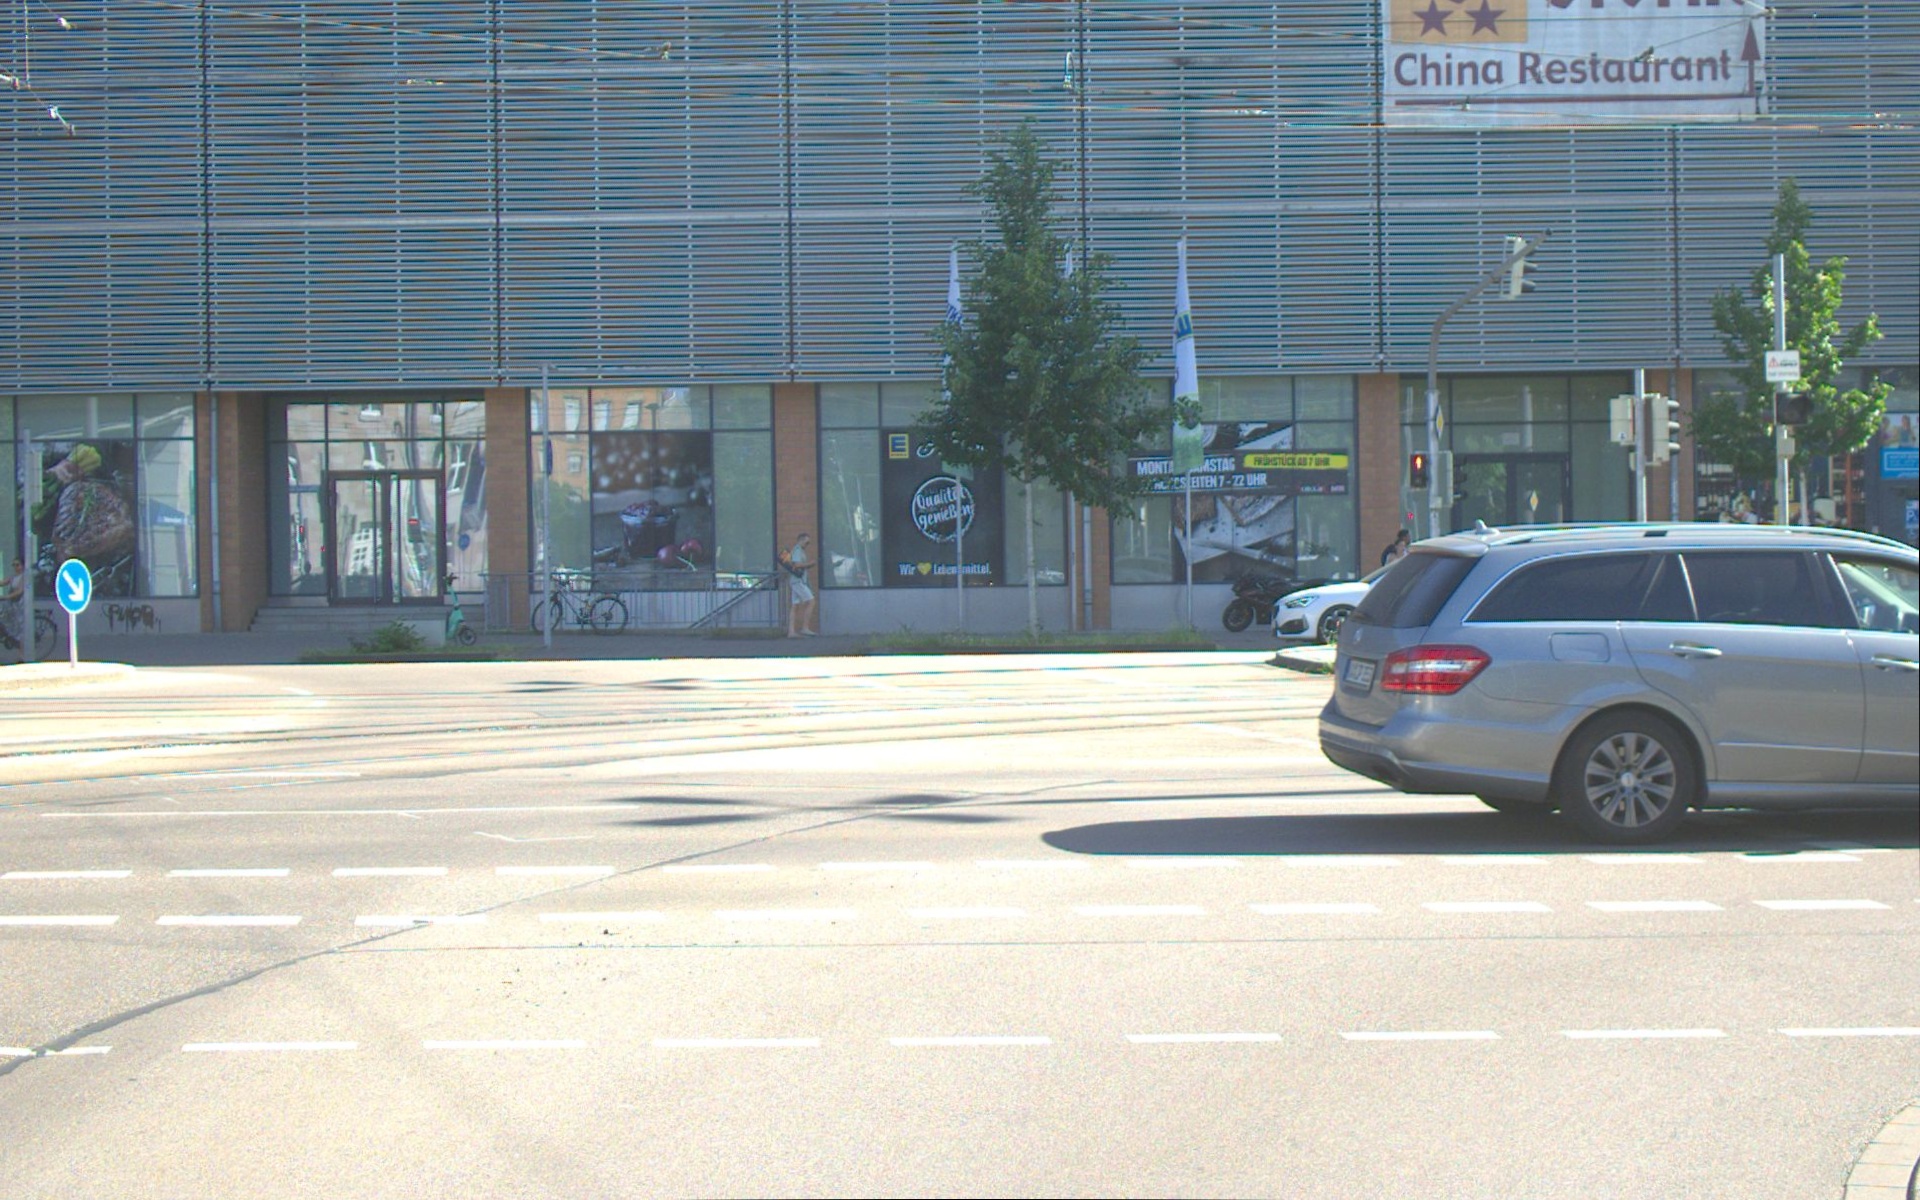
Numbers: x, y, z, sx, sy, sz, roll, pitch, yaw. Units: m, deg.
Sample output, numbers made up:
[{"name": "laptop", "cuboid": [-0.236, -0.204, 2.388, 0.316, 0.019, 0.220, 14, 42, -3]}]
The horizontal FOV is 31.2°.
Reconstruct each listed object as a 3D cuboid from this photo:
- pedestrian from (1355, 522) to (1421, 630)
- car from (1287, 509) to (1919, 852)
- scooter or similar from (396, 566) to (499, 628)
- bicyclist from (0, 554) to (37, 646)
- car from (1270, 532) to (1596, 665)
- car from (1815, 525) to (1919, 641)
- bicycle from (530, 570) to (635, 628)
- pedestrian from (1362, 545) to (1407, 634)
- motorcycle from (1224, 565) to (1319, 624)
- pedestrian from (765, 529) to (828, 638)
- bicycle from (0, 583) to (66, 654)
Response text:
[{"name": "pedestrian", "cuboid": [7.369, -0.422, 59.252, 1.012, 1.822, 1.035, -2, 1, 3]}, {"name": "car", "cuboid": [4.184, 0.341, 16.974, 4.855, 1.567, 1.707, -1, 1, -7]}, {"name": "scooter or similar", "cuboid": [-9.078, -0.049, 60.922, 1.792, 1.062, 0.613, 0, 2, -8]}, {"name": "bicyclist", "cuboid": [-15.279, -0.003, 54.778, 0.675, 1.422, 0.847, 1, 3, 43]}, {"name": "car", "cuboid": [6.699, -0.025, 49.013, 4.289, 1.639, 1.841, 3, 0, -1]}, {"name": "car", "cuboid": [13.755, -0.142, 45.844, 4.146, 1.464, 1.841, 3, 0, -1]}, {"name": "bicycle", "cuboid": [-6.649, -0.019, 60.540, 1.815, 0.986, 0.558, -1, 2, -10]}, {"name": "pedestrian", "cuboid": [6.831, -0.177, 55.266, 0.655, 1.409, 0.849, 1, 0, 10]}, {"name": "motorcycle", "cuboid": [5.495, -0.102, 60.633, 1.640, 1.001, 0.446, 1, 1, 6]}, {"name": "pedestrian", "cuboid": [-2.833, -0.284, 59.694, 0.950, 1.822, 0.845, -2, -3, 5]}, {"name": "bicycle", "cuboid": [-15.245, 0.306, 54.858, 0.568, 1.082, 1.859, 1, 3, 43]}]
